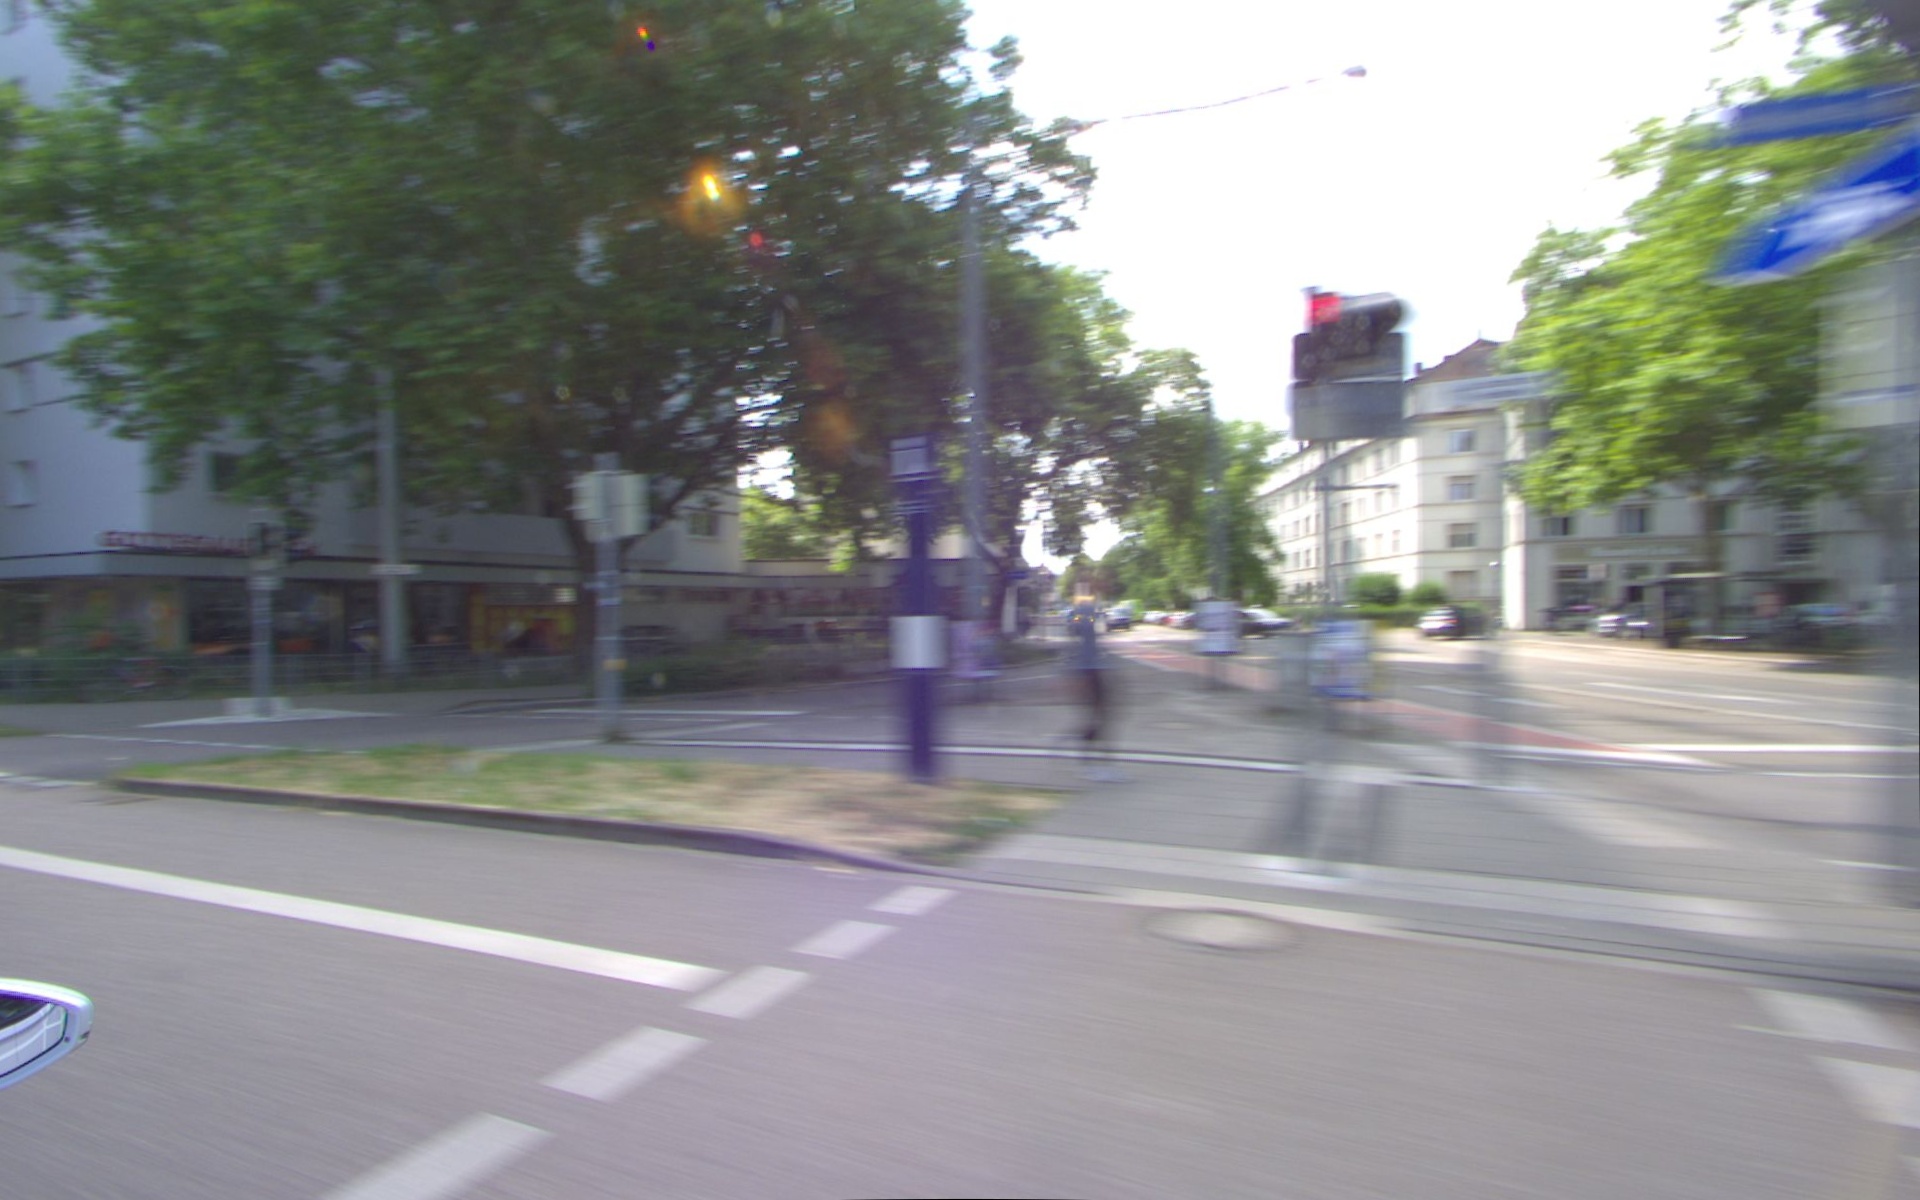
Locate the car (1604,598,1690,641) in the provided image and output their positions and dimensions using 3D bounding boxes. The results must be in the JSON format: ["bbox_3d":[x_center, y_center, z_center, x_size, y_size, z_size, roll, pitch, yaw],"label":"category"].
[{"bbox_3d":[27.454,0.776,40.153,2.001,1.621,4.526,-1,-1,24],"label":"car"}]

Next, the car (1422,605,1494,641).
[{"bbox_3d":[22.491,1.010,45.162,3.429,1.558,1.683,-1,0,-40],"label":"car"}]

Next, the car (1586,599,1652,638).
[{"bbox_3d":[32.662,0.919,49.762,1.880,1.819,4.708,-1,-1,23],"label":"car"}]

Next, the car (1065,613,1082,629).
[{"bbox_3d":[12.093,2.235,106.432,1.701,1.683,3.749,-1,0,5],"label":"car"}]

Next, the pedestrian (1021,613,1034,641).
[{"bbox_3d":[3.653,1.456,54.181,0.658,1.498,0.575,0,0,10],"label":"pedestrian"}]

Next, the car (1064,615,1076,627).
[{"bbox_3d":[16.103,3.129,146.907,1.673,1.683,3.749,-1,0,5],"label":"car"}]

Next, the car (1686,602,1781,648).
[{"bbox_3d":[30.274,0.976,39.334,1.880,1.712,4.526,-1,-1,24],"label":"car"}]

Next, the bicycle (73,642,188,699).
[{"bbox_3d":[-16.198,1.361,19.601,1.708,1.022,0.530,0,0,-38],"label":"bicycle"}]

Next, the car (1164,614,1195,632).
[{"bbox_3d":[18.748,1.959,85.661,1.764,1.545,3.679,-1,-1,-1],"label":"car"}]

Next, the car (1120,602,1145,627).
[{"bbox_3d":[18.602,1.551,108.160,2.085,2.676,6.327,-1,0,5],"label":"car"}]

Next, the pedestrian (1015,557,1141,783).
[{"bbox_3d":[1.008,0.570,8.512,0.873,1.806,0.692,0,0,28],"label":"pedestrian"}]

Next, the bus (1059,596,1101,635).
[{"bbox_3d":[8.983,1.188,75.612,2.355,2.744,6.371,-1,-1,0],"label":"bus"}]

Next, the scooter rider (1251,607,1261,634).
[{"bbox_3d":[20.732,1.419,70.084,0.518,1.836,0.649,-1,0,1],"label":"scooter rider"}]

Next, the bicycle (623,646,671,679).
[{"bbox_3d":[-7.992,1.588,25.590,0.294,0.807,1.202,0,0,42],"label":"bicycle"}]

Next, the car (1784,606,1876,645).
[{"bbox_3d":[32.325,0.943,37.297,1.444,1.407,3.230,-1,-1,19],"label":"car"}]

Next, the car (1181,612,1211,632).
[{"bbox_3d":[18.961,1.746,80.580,1.697,1.575,3.634,-1,-1,3],"label":"car"}]

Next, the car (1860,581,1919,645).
[{"bbox_3d":[34.444,0.459,36.000,1.968,2.211,4.243,-1,-1,26],"label":"car"}]

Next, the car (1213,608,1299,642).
[{"bbox_3d":[15.271,1.287,51.865,1.766,1.683,4.295,-1,0,-29],"label":"car"}]

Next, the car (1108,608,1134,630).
[{"bbox_3d":[13.102,1.535,81.735,1.832,1.683,3.749,-1,0,5],"label":"car"}]

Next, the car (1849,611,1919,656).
[{"bbox_3d":[31.135,1.084,33.106,1.443,1.407,3.063,0,-1,17],"label":"car"}]

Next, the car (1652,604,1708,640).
[{"bbox_3d":[34.928,1.048,48.646,1.445,1.687,3.060,0,-1,21],"label":"car"}]

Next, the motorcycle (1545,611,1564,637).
[{"bbox_3d":[29.861,1.190,50.284,0.562,1.259,1.880,-1,-1,23],"label":"motorcycle"}]
